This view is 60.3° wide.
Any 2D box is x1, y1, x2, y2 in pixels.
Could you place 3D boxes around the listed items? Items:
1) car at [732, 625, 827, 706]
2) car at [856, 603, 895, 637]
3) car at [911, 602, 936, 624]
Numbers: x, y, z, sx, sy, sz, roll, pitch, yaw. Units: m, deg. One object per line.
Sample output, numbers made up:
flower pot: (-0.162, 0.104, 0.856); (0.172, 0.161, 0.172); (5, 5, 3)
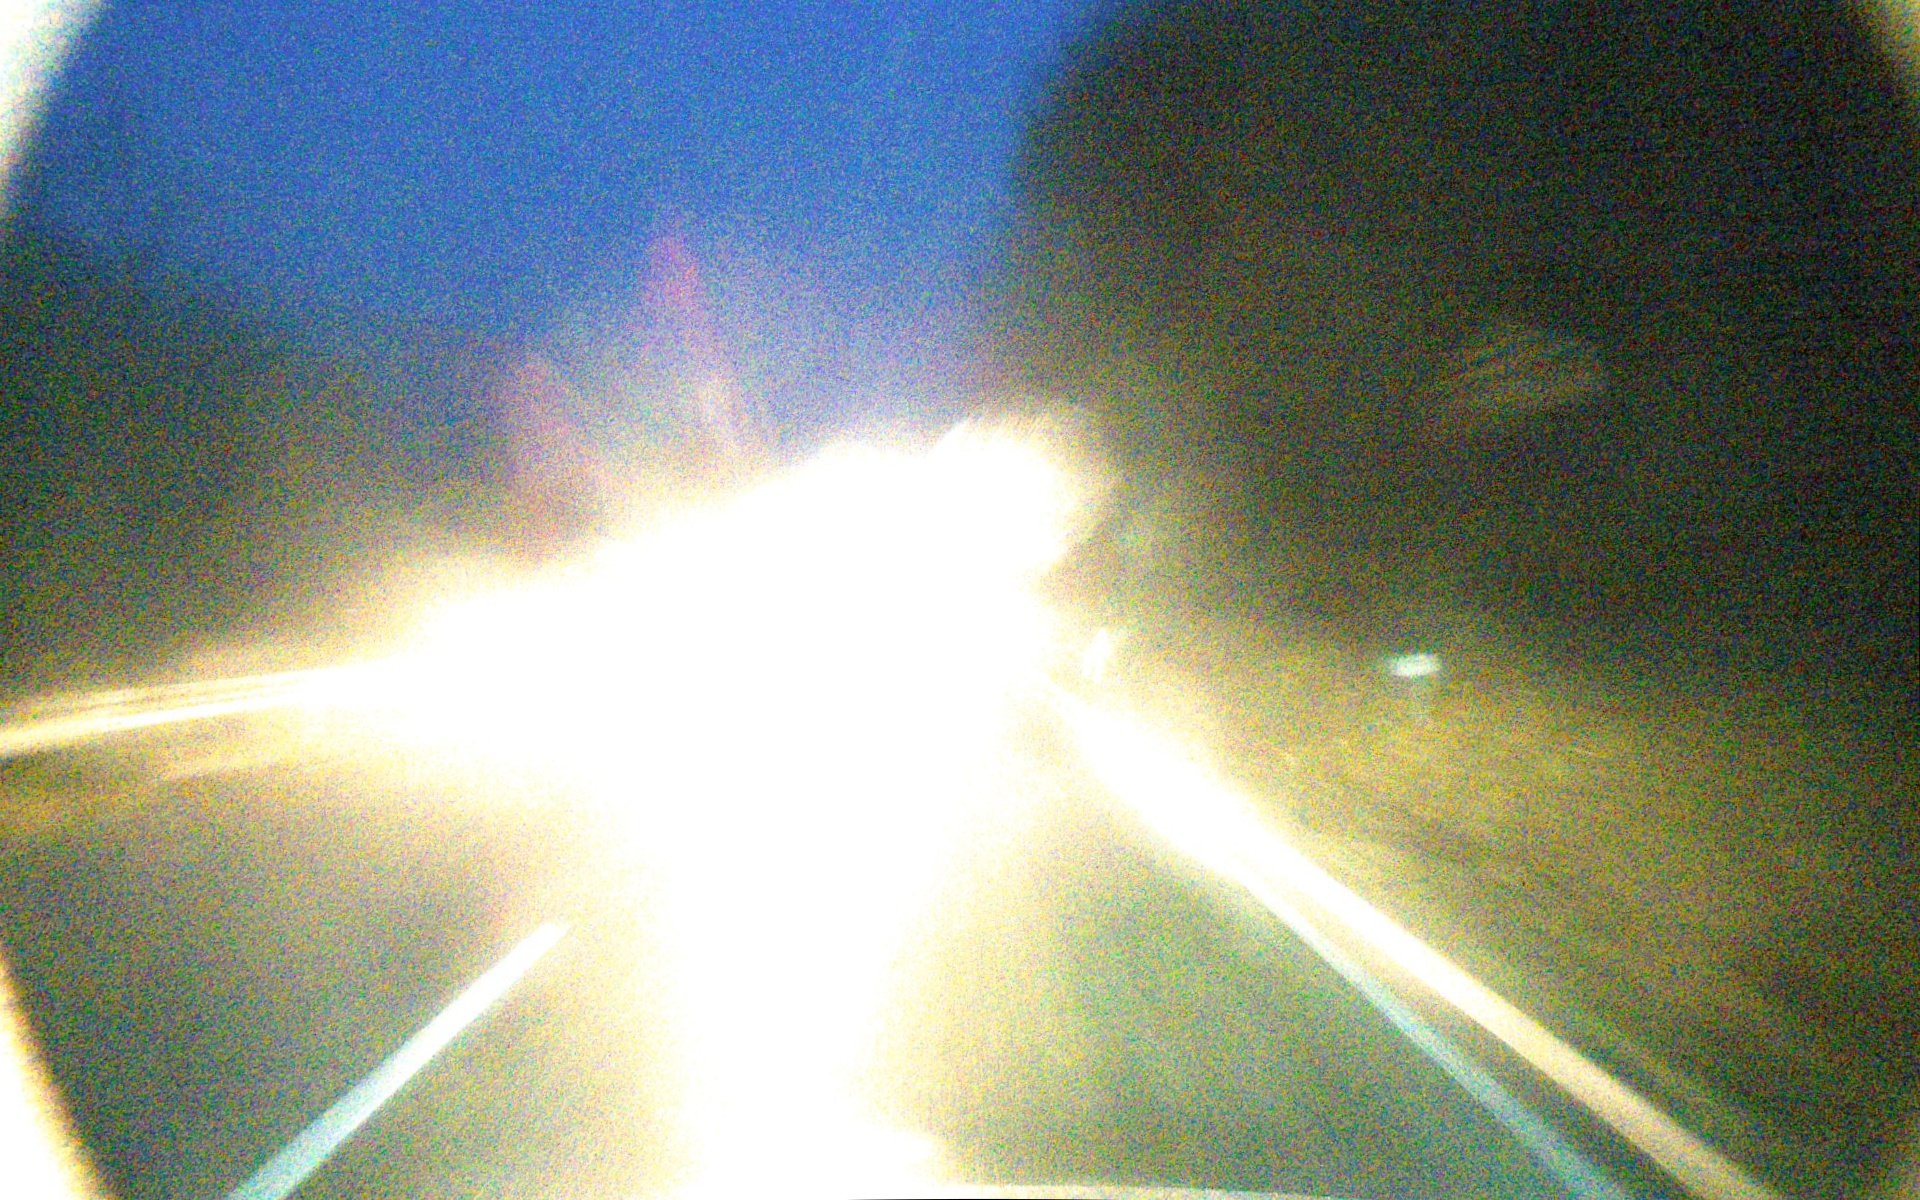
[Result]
car: (-3.899, 1.387, 36.310); (1.681, 1.544, 3.876); (-2, 0, -1)
car: (-3.962, 0.915, 77.619); (1.681, 1.496, 3.707); (-1, 0, -1)
car: (-2.722, 0.981, 124.103); (1.791, 1.481, 3.793); (-2, 1, 0)
